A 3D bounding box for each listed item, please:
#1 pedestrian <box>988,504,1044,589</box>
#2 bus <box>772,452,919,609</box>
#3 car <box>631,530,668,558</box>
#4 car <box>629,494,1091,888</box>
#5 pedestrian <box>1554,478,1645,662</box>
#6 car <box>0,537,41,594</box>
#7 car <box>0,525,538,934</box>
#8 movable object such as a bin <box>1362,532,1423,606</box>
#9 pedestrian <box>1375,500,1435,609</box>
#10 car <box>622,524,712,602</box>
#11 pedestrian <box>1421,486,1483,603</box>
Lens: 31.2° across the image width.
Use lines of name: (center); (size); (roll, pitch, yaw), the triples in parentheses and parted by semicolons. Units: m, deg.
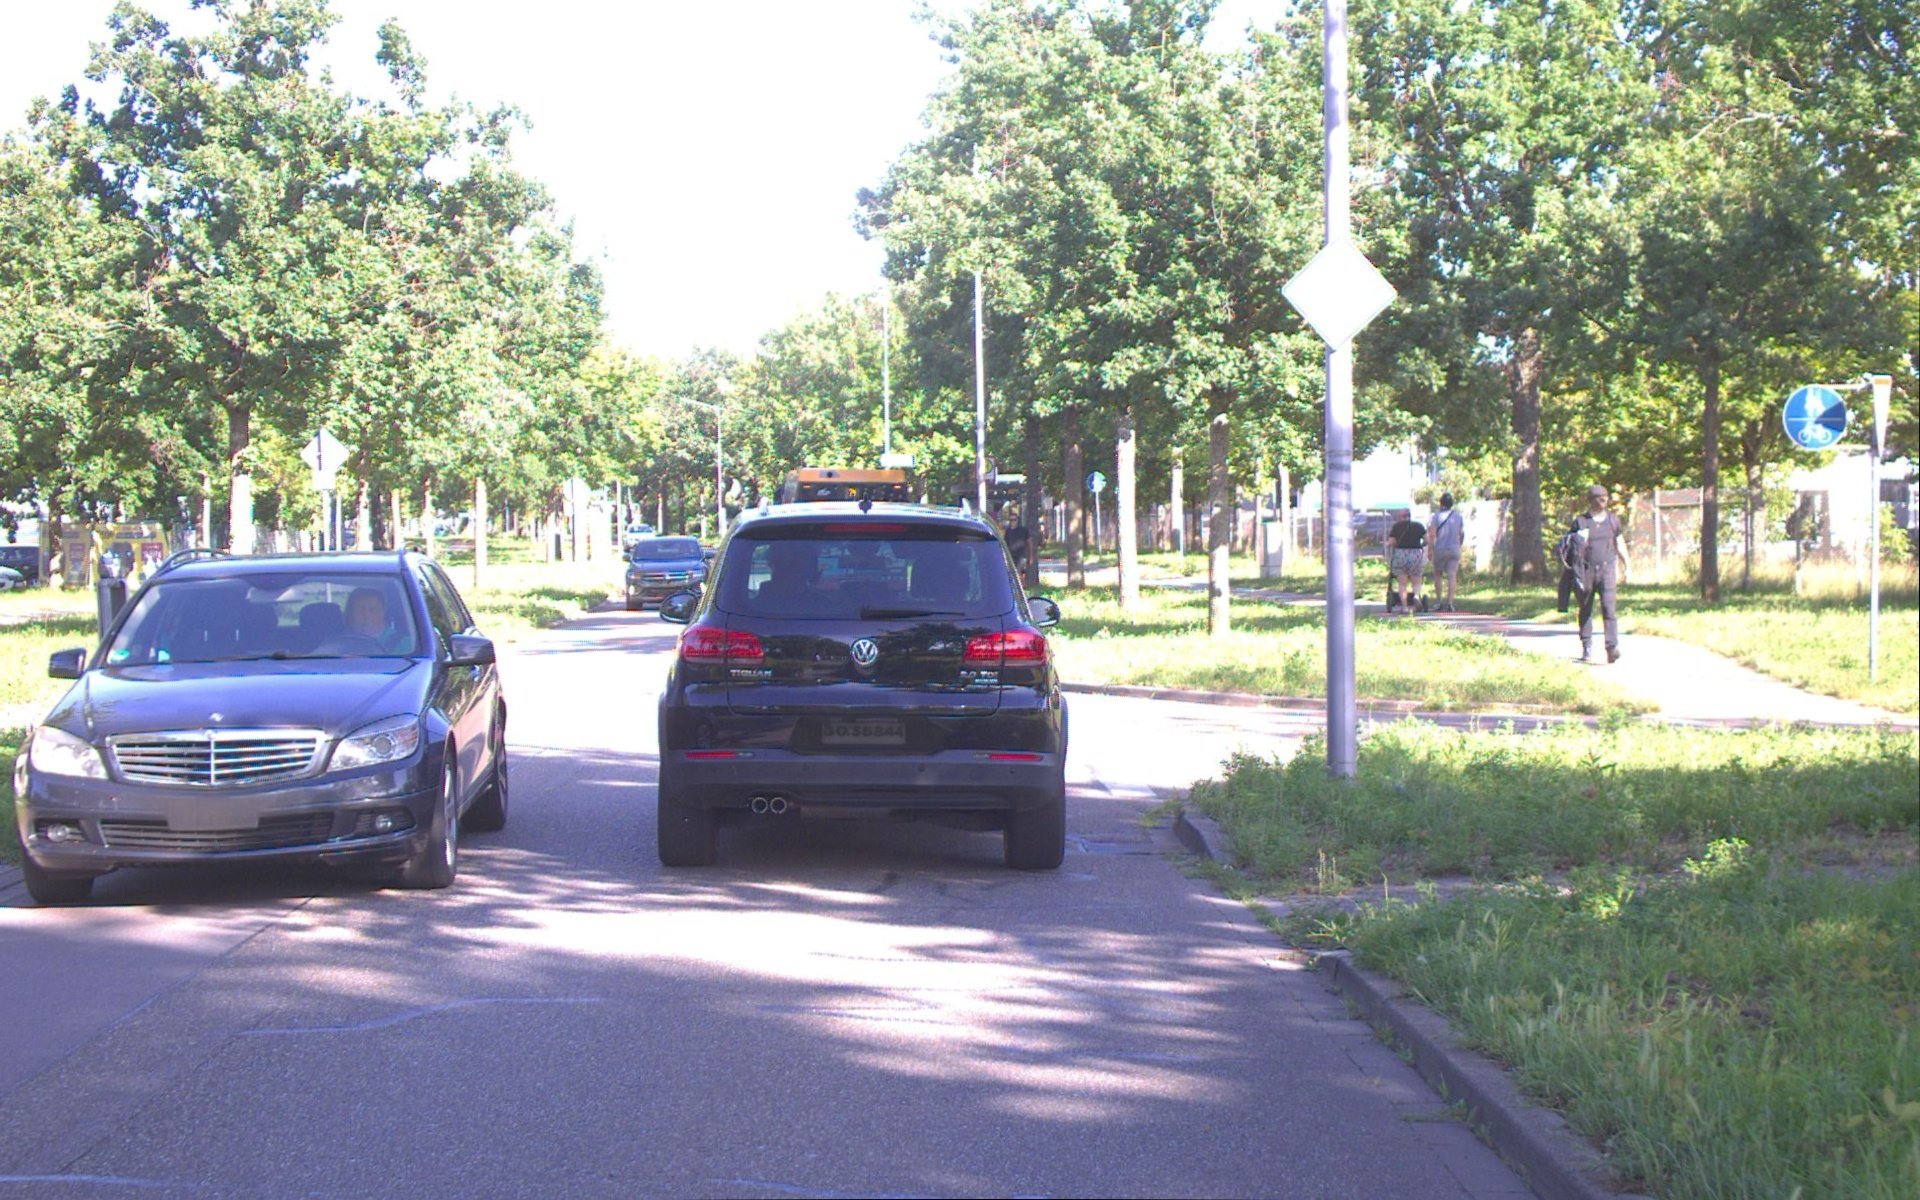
pedestrian: (1.094, -1.053, 67.667); (1.019, 1.646, 1.100); (-1, 1, -3)
bus: (-2.842, -1.689, 81.834); (2.764, 3.444, 11.213); (-1, 2, -6)
car: (-16.862, -3.051, 186.730); (1.744, 1.460, 4.428); (-1, 2, -3)
car: (-0.519, 0.323, 16.788); (1.936, 1.650, 4.428); (1, 2, -3)
pedestrian: (6.474, -0.311, 34.813); (0.725, 1.806, 0.868); (-1, 4, -3)
car: (-28.936, -1.002, 100.063); (3.744, 1.612, 1.962); (0, 1, 13)
car: (-3.048, 0.466, 15.914); (1.765, 1.523, 4.496); (-2, 2, -2)
movable object such as a bin: (6.563, -0.470, 52.199); (0.725, 1.077, 0.868); (-3, 1, -3)
pedestrian: (6.639, -0.686, 51.345); (0.725, 1.597, 0.868); (-1, 1, -3)
car: (-6.304, -0.823, 74.350); (1.804, 1.531, 4.496); (-2, 2, -4)
pedestrian: (7.519, -0.854, 52.589); (0.725, 1.749, 0.868); (-3, 1, -2)
